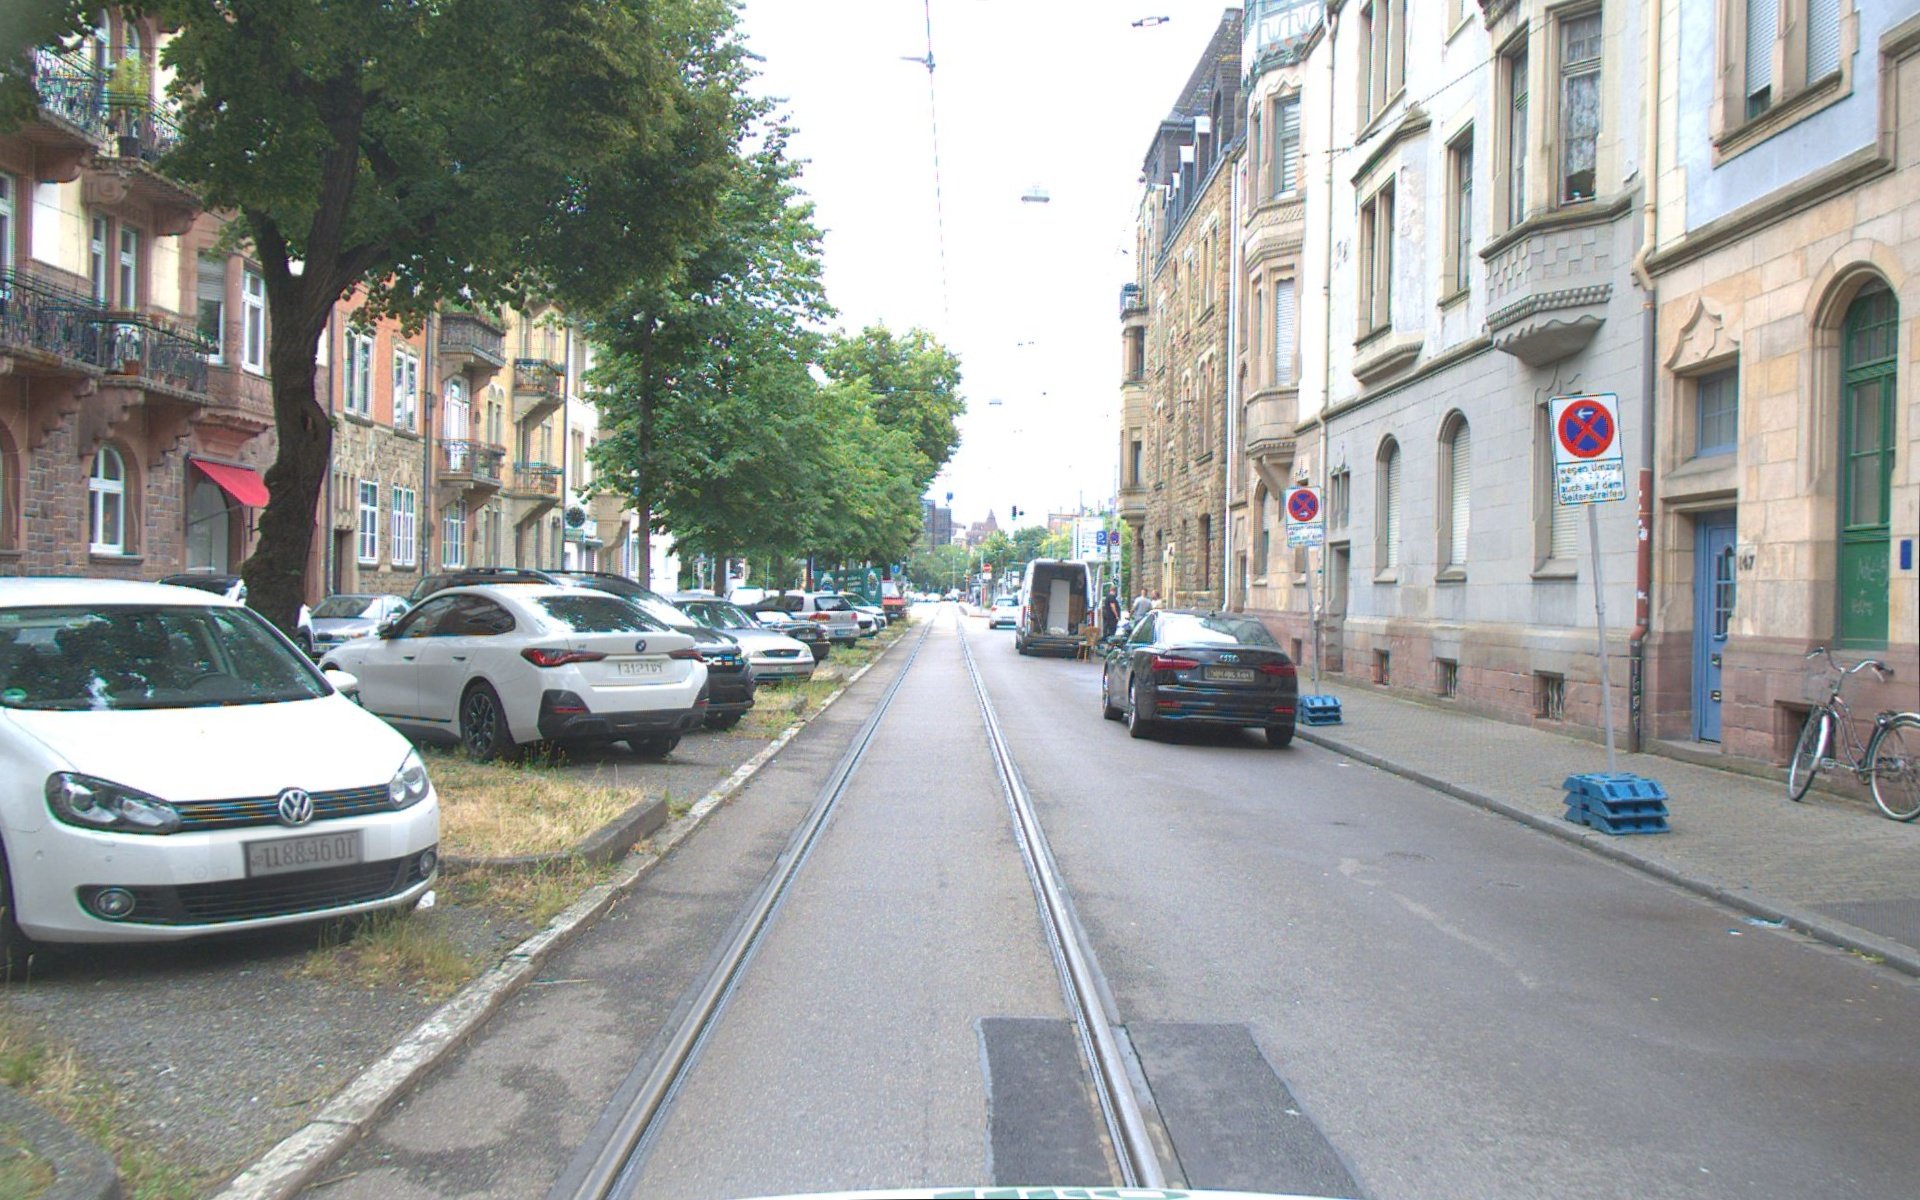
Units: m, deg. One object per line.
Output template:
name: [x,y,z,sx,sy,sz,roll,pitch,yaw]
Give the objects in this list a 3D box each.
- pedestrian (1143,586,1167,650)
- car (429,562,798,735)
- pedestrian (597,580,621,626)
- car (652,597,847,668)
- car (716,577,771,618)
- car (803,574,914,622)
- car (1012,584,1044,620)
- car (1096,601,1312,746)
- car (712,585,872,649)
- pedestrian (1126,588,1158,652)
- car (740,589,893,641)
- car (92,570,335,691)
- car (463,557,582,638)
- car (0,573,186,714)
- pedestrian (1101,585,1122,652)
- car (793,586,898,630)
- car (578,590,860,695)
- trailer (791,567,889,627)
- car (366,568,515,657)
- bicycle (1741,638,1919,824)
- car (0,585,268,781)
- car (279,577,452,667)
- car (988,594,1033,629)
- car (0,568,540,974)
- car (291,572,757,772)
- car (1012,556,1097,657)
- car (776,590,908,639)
pedestrian: [5.458,0.499,46.283,0.498,1.747,0.580,-1,0,-10]
car: [-3.891,0.459,18.089,4.455,1.662,1.753,1,0,44]
pedestrian: [-13.840,0.129,65.224,0.781,1.797,0.900,1,0,-2]
car: [-4.131,0.600,32.111,3.895,1.223,1.657,1,0,43]
car: [-9.045,-0.096,69.358,1.768,1.607,4.545,1,0,-1]
car: [-4.377,-0.097,71.203,4.676,2.009,1.951,1,0,38]
car: [3.996,0.110,97.766,1.745,1.997,4.383,1,0,1]
car: [2.805,0.780,20.134,1.764,1.463,5.195,1,0,-1]
car: [-4.338,0.415,42.362,4.042,1.510,1.787,1,0,41]
pedestrian: [4.995,0.539,45.443,0.694,1.729,0.488,-1,0,-28]
car: [-4.385,0.437,50.124,4.600,1.460,1.889,1,0,39]
car: [-11.286,0.433,25.379,1.705,1.655,4.553,1,0,-1]
car: [-11.445,-0.060,43.606,1.843,1.986,5.092,1,0,-1]
car: [-11.295,0.488,20.550,1.628,1.587,3.721,1,0,-1]
pedestrian: [4.225,0.515,46.178,0.488,1.847,0.803,-1,0,1]
car: [-4.211,0.279,60.454,3.795,1.488,1.679,1,0,42]
car: [-3.732,0.583,25.090,4.586,1.392,1.747,1,0,43]
trailer: [-4.968,-0.140,68.295,3.594,2.385,1.926,1,0,33]
car: [-11.504,0.274,36.996,1.777,1.813,5.116,1,0,-1]
bicycle: [6.340,0.888,11.734,0.599,1.146,1.916,4,0,-1]
car: [-8.045,0.624,14.835,1.768,1.478,4.651,1,0,-1]
car: [-11.219,0.400,31.560,1.705,1.569,4.553,1,0,-1]
car: [2.295,0.498,74.146,1.745,1.498,4.012,1,0,5]
car: [-3.833,0.541,7.586,4.060,1.335,1.850,2,0,44]
car: [-4.025,0.535,14.833,4.464,1.516,2.022,1,0,44]
car: [2.611,0.158,47.348,1.972,2.593,7.017,3,0,0]
car: [-3.892,0.453,54.004,4.263,1.460,1.887,1,0,42]
